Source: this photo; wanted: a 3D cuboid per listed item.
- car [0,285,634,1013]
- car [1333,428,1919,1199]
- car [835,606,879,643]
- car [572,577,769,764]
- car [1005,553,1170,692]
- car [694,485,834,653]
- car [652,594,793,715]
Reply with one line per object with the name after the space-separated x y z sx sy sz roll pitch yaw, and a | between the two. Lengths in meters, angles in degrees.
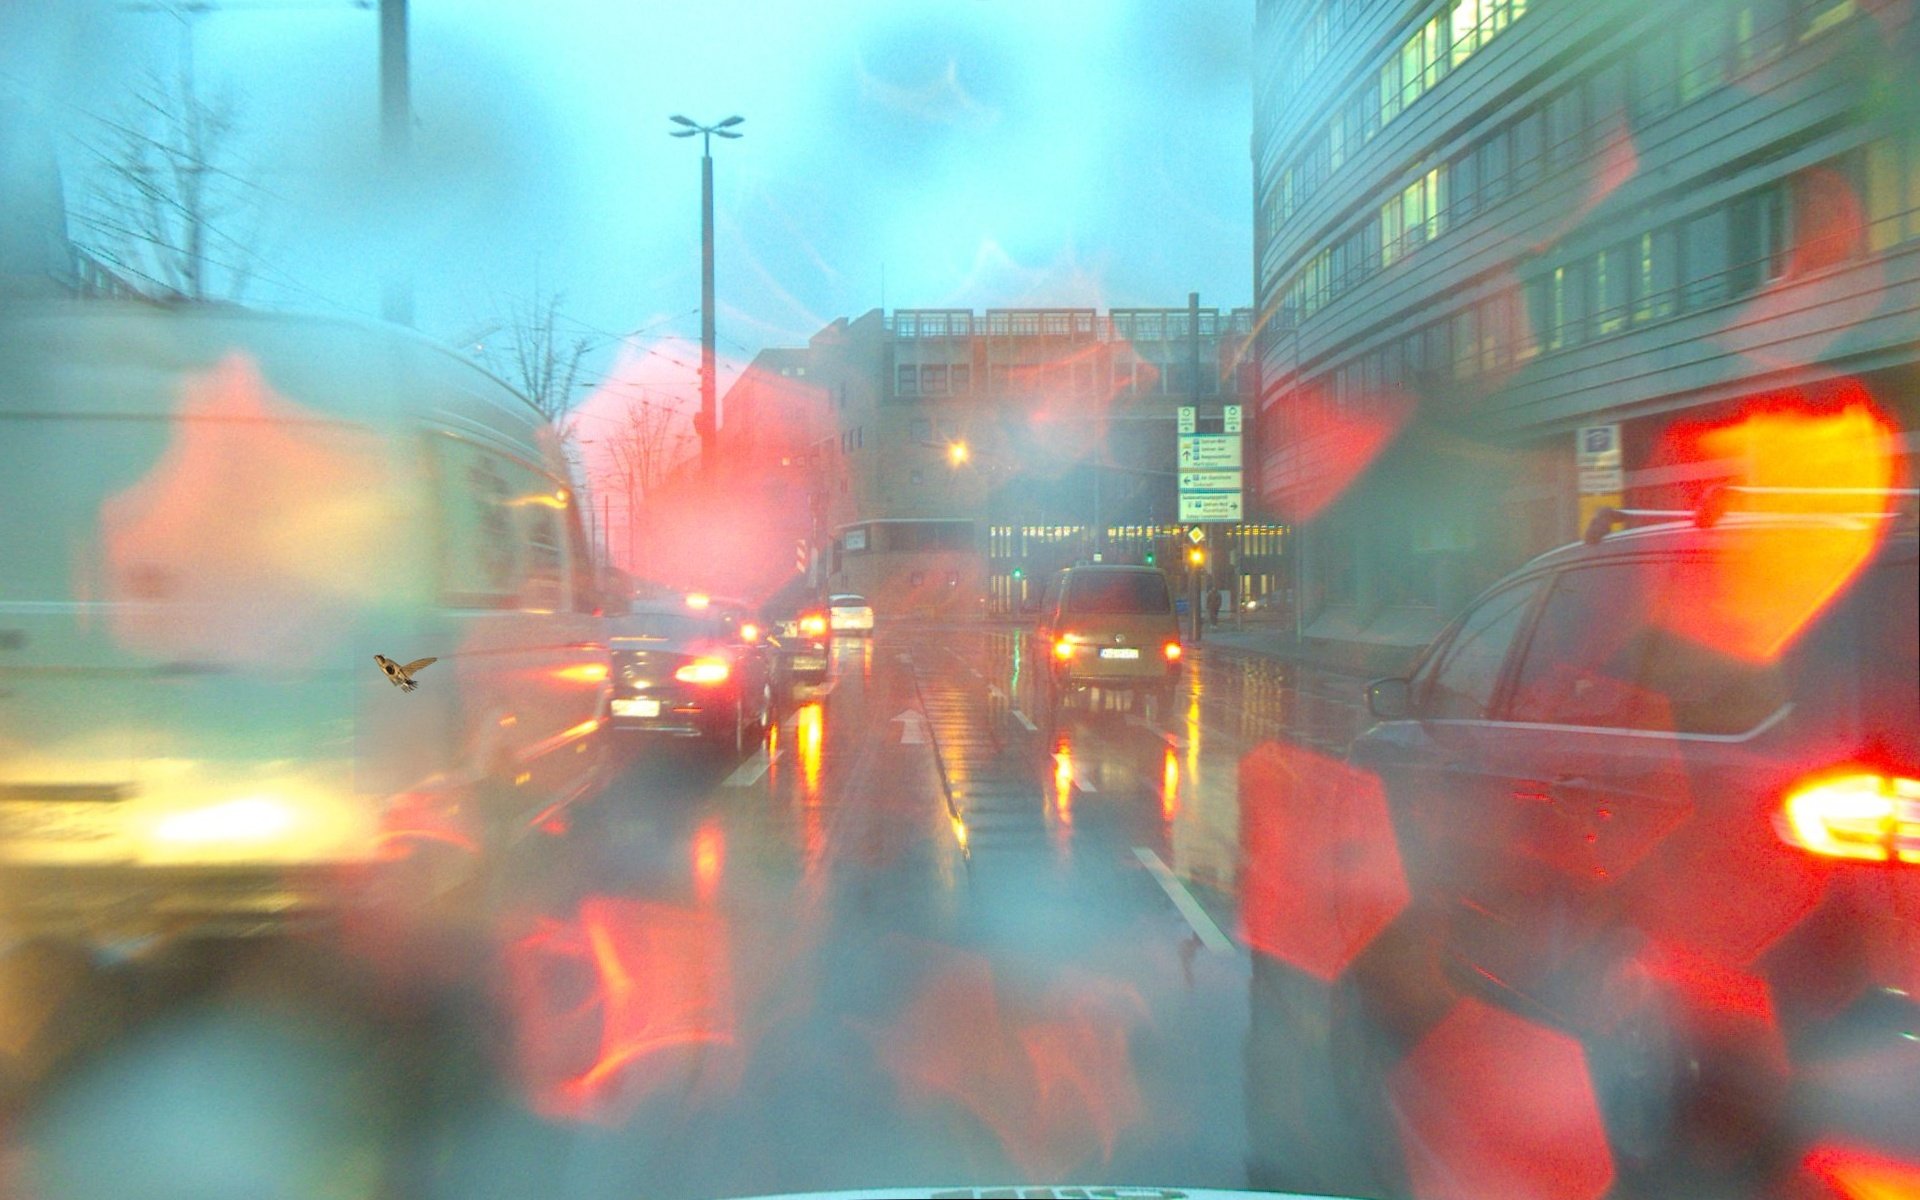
-3.017 0.157 8.637 1.955 2.470 5.967 0 0 -5 | car
2.533 0.533 5.514 1.640 1.811 3.999 0 0 -1 | car
-3.836 0.909 61.904 1.480 1.328 3.040 0 0 0 | car
-2.603 0.602 15.493 1.488 1.547 3.467 0 -1 -5 | car
1.759 0.296 24.243 1.807 1.837 4.483 0 0 -4 | car
-3.589 -0.526 31.509 2.308 2.876 6.354 0 0 -4 | car
-3.212 0.693 22.995 1.671 1.535 3.996 0 0 -5 | car
